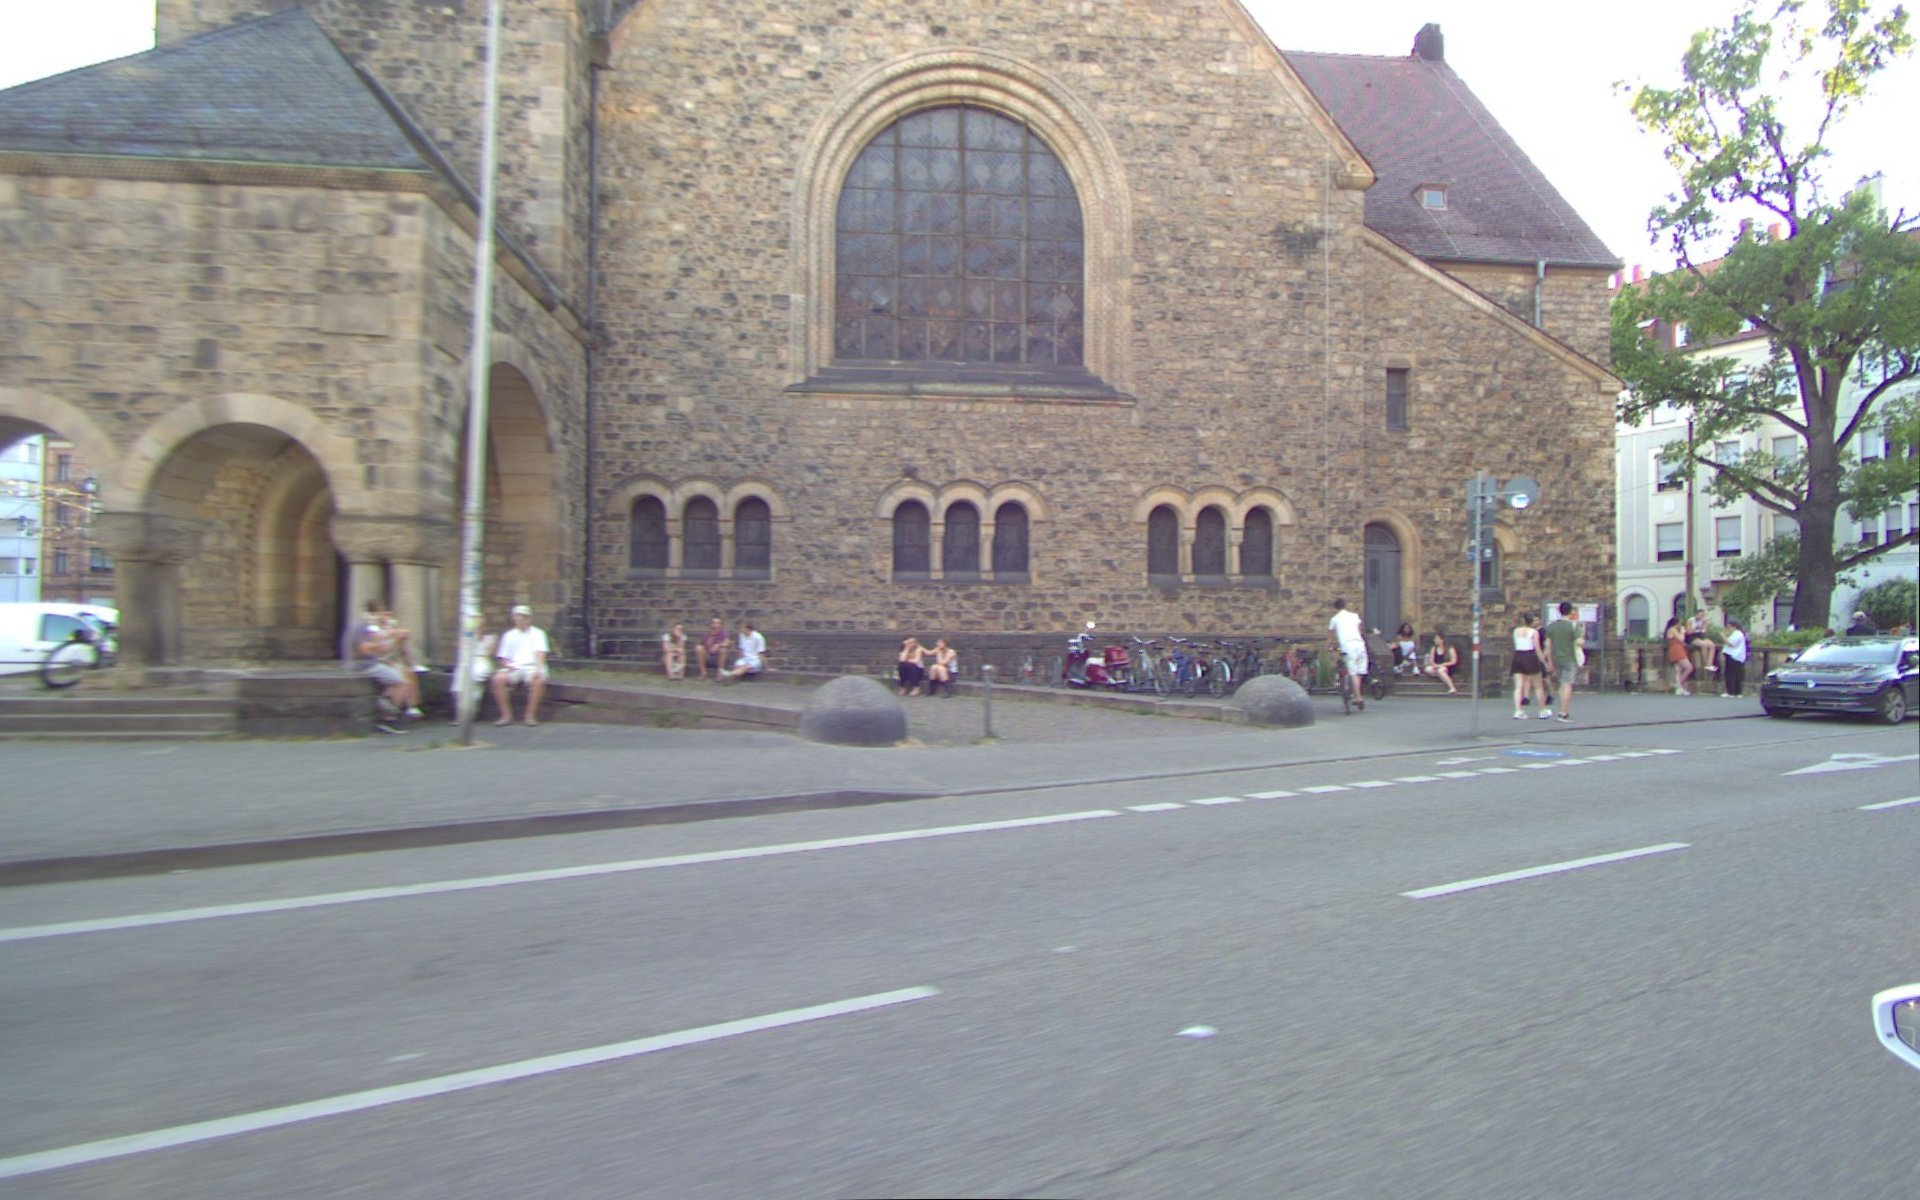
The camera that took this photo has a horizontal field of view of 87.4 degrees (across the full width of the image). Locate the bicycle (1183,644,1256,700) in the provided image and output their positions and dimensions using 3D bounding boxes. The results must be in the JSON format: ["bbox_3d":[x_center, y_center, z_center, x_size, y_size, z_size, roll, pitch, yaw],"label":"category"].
[{"bbox_3d":[4.990,1.362,19.446,0.458,1.002,2.003,1,-2,-14],"label":"bicycle"}]

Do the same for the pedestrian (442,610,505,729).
[{"bbox_3d":[-5.939,0.840,12.289,0.449,1.425,0.548,0,-2,5],"label":"pedestrian"}]

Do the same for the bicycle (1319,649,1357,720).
[{"bbox_3d":[6.319,1.373,16.843,0.542,1.026,2.188,1,0,20],"label":"bicycle"}]

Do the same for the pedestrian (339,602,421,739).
[{"bbox_3d":[-6.443,0.770,11.171,0.546,1.472,0.551,0,-2,5],"label":"pedestrian"}]

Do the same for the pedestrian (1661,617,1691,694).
[{"bbox_3d":[16.009,1.223,22.465,0.407,1.696,0.548,0,-1,21],"label":"pedestrian"}]

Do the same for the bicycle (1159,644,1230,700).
[{"bbox_3d":[4.493,1.355,19.373,0.458,1.002,2.003,1,-2,-14],"label":"bicycle"}]

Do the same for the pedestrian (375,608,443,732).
[{"bbox_3d":[-6.449,0.807,11.767,0.537,1.425,0.402,0,-1,5],"label":"pedestrian"}]

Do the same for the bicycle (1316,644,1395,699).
[{"bbox_3d":[7.744,1.377,19.767,0.434,1.002,1.879,1,-2,-14],"label":"bicycle"}]

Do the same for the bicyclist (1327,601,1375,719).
[{"bbox_3d":[6.532,0.977,16.780,0.694,1.905,0.942,1,0,22],"label":"bicyclist"}]

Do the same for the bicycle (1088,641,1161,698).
[{"bbox_3d":[3.116,1.292,19.172,0.576,1.002,2.001,1,-2,-16],"label":"bicycle"}]

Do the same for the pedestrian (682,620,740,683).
[{"bbox_3d":[-4.391,0.902,17.737,0.635,1.090,0.830,0,-2,21],"label":"pedestrian"}]

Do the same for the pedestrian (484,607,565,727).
[{"bbox_3d":[-5.322,0.806,12.310,0.619,1.425,0.704,0,-2,5],"label":"pedestrian"}]

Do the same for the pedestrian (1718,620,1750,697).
[{"bbox_3d":[16.842,1.272,21.868,0.407,1.643,0.548,0,-1,21],"label":"pedestrian"}]

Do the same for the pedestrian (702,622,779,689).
[{"bbox_3d":[-3.788,0.944,17.397,0.672,1.109,1.333,0,-2,21],"label":"pedestrian"}]

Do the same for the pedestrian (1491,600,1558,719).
[{"bbox_3d":[9.229,0.963,16.427,0.978,1.881,0.569,1,-1,-33],"label":"pedestrian"}]

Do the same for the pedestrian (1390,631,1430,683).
[{"bbox_3d":[9.345,1.185,20.878,0.596,1.062,0.498,1,-1,-9],"label":"pedestrian"}]

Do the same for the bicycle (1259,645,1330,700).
[{"bbox_3d":[6.510,1.390,19.649,0.364,1.002,1.879,1,-2,-14],"label":"bicycle"}]

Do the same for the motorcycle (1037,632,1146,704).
[{"bbox_3d":[2.374,1.216,18.518,0.811,1.141,2.407,1,0,-25],"label":"motorcycle"}]

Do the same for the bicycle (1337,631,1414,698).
[{"bbox_3d":[8.191,1.246,19.876,0.430,1.265,1.728,1,-2,-15],"label":"bicycle"}]

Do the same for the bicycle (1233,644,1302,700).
[{"bbox_3d":[5.960,1.380,19.577,0.364,1.002,1.879,1,-2,-14],"label":"bicycle"}]

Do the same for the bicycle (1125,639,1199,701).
[{"bbox_3d":[3.840,1.320,19.281,0.576,1.002,2.002,1,1,-14],"label":"bicycle"}]

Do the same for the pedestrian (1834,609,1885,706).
[{"bbox_3d":[18.483,1.170,20.649,0.794,1.930,0.579,1,-2,-33],"label":"pedestrian"}]

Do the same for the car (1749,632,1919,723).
[{"bbox_3d":[16.162,1.316,17.910,4.262,1.454,1.776,1,-2,-29],"label":"car"}]

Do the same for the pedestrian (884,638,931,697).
[{"bbox_3d":[-0.894,1.154,17.233,0.551,0.980,0.649,0,-2,27],"label":"pedestrian"}]

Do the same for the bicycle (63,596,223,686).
[{"bbox_3d":[-10.506,0.525,13.033,0.584,1.071,2.282,1,-2,-11],"label":"bicycle"}]

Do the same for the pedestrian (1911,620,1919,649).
[{"bbox_3d":[33.584,1.210,34.803,0.827,0.993,0.702,1,-2,-31],"label":"pedestrian"}]

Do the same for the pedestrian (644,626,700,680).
[{"bbox_3d":[-5.084,0.928,17.754,0.635,0.928,0.740,0,-2,21],"label":"pedestrian"}]

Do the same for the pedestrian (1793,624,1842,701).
[{"bbox_3d":[18.110,1.303,21.206,0.830,1.572,0.579,1,-1,-33],"label":"pedestrian"}]

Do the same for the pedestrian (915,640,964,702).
[{"bbox_3d":[-0.342,1.192,17.010,0.551,1.004,0.695,0,-2,27],"label":"pedestrian"}]

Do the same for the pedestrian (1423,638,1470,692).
[{"bbox_3d":[9.827,1.314,20.294,0.688,1.070,0.516,1,-1,-13],"label":"pedestrian"}]

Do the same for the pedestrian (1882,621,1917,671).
[{"bbox_3d":[33.144,1.611,35.441,0.827,1.743,0.702,1,-2,-31],"label":"pedestrian"}]

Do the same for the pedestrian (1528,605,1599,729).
[{"bbox_3d":[9.536,1.038,15.872,0.882,1.904,0.643,1,-1,-33],"label":"pedestrian"}]

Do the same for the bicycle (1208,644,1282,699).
[{"bbox_3d":[5.513,1.365,19.545,0.458,1.002,1.985,1,-2,-14],"label":"bicycle"}]

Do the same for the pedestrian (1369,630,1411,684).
[{"bbox_3d":[8.756,1.154,20.460,0.726,1.062,0.519,0,-1,31],"label":"pedestrian"}]

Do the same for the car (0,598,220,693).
[{"bbox_3d":[-17.716,0.903,20.226,4.321,1.832,1.584,1,-2,-4],"label":"car"}]

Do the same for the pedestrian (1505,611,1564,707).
[{"bbox_3d":[10.752,1.097,18.806,0.683,1.748,0.711,1,-2,-29],"label":"pedestrian"}]

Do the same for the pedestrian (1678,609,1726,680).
[{"bbox_3d":[16.751,1.002,22.684,0.574,1.566,0.652,1,-1,-6],"label":"pedestrian"}]
